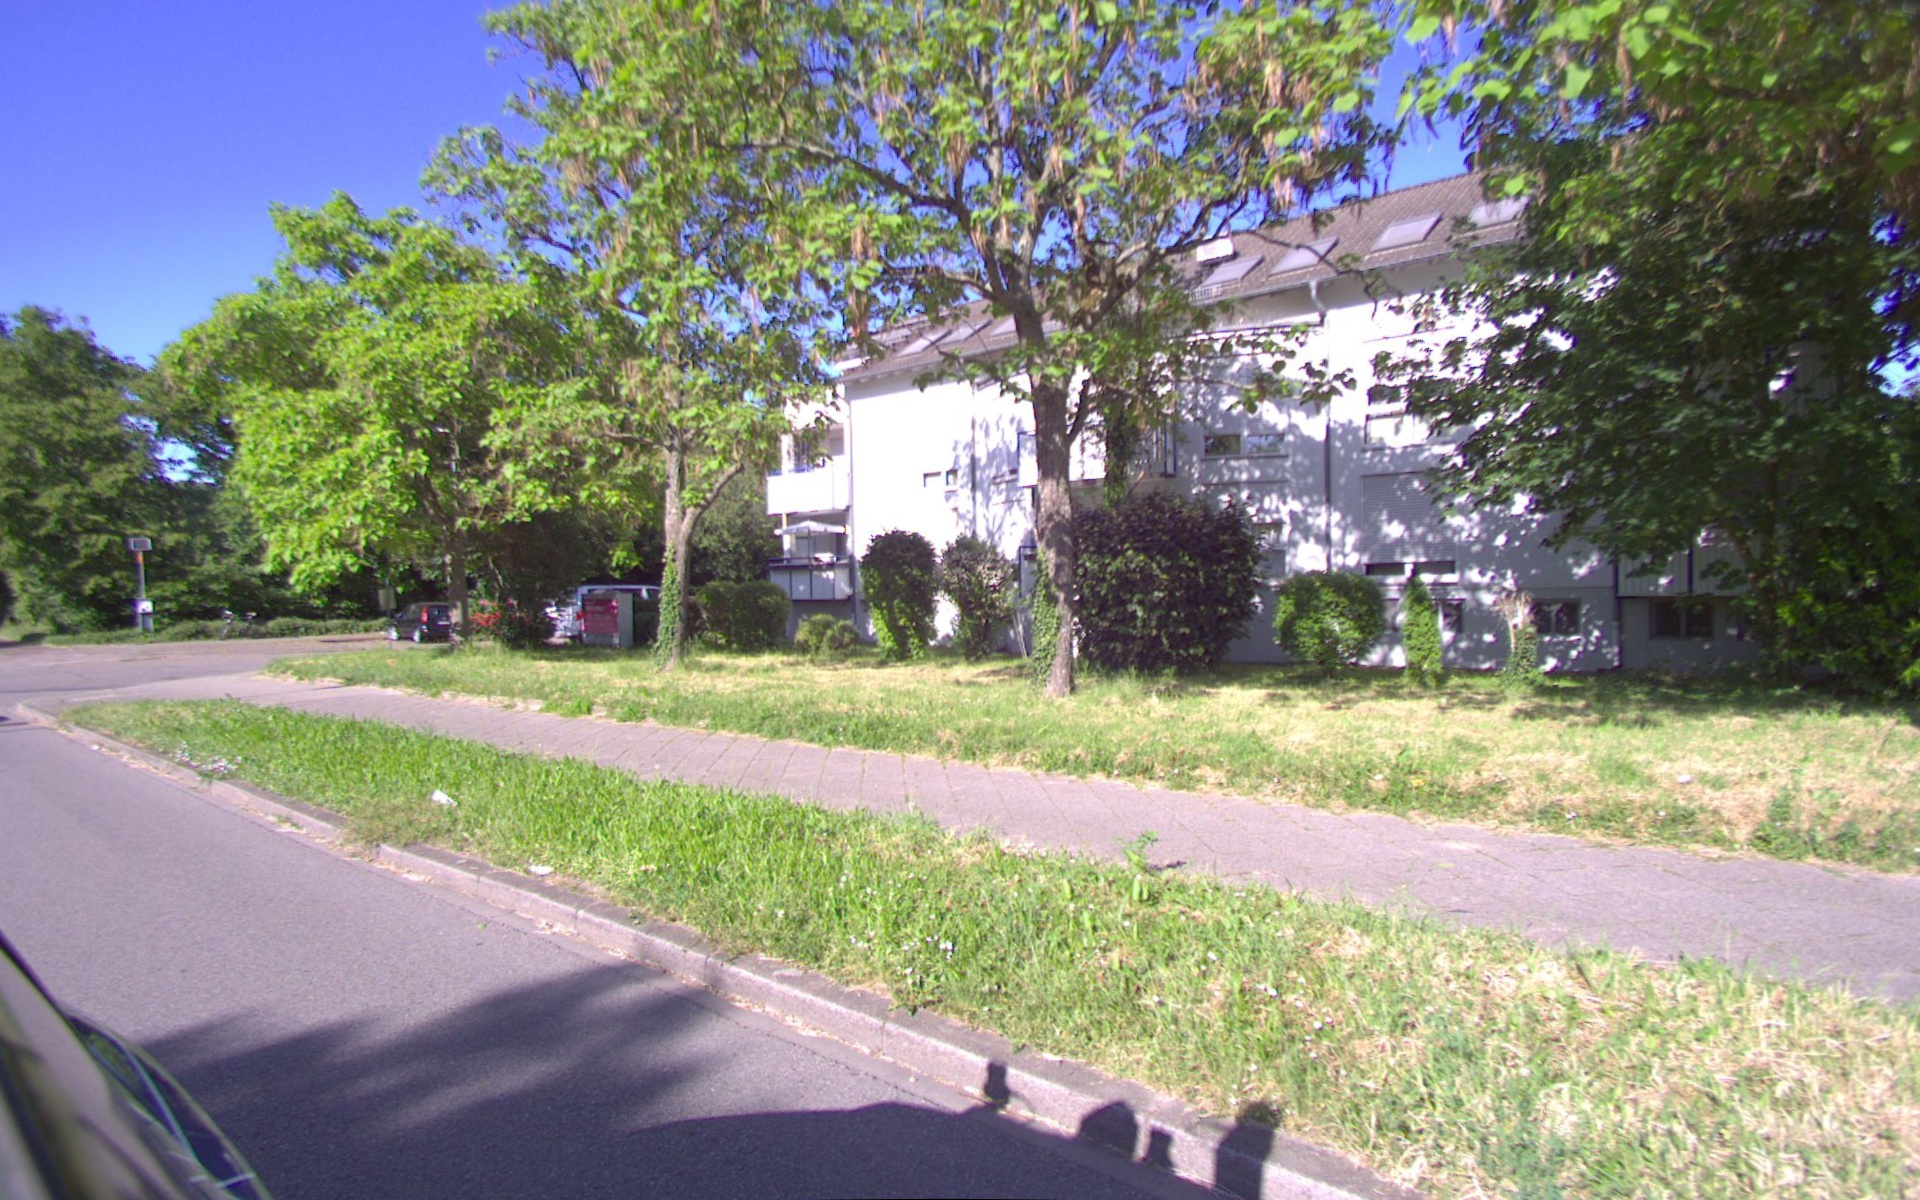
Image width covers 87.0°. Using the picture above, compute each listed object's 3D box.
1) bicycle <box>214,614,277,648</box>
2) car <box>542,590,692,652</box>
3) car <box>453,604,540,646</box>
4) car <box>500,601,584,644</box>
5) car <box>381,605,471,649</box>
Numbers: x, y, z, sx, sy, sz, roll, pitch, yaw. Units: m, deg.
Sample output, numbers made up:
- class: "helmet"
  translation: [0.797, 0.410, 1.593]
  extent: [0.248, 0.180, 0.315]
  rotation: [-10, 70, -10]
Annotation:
- class: "bicycle"
  translation: [-26.877, 1.140, 38.090]
  extent: [1.875, 1.160, 0.762]
  rotation: [-1, 4, -40]
- class: "car"
  translation: [-11.691, 0.689, 34.676]
  extent: [2.069, 1.984, 4.402]
  rotation: [-2, -1, 43]
- class: "car"
  translation: [-18.469, 0.950, 40.291]
  extent: [3.882, 1.498, 1.653]
  rotation: [1, 1, 40]
- class: "car"
  translation: [-17.647, 0.906, 42.640]
  extent: [3.882, 1.615, 1.653]
  rotation: [1, 1, 40]
- class: "car"
  translation: [-20.317, 0.986, 38.452]
  extent: [3.882, 1.498, 1.653]
  rotation: [1, 1, 40]
